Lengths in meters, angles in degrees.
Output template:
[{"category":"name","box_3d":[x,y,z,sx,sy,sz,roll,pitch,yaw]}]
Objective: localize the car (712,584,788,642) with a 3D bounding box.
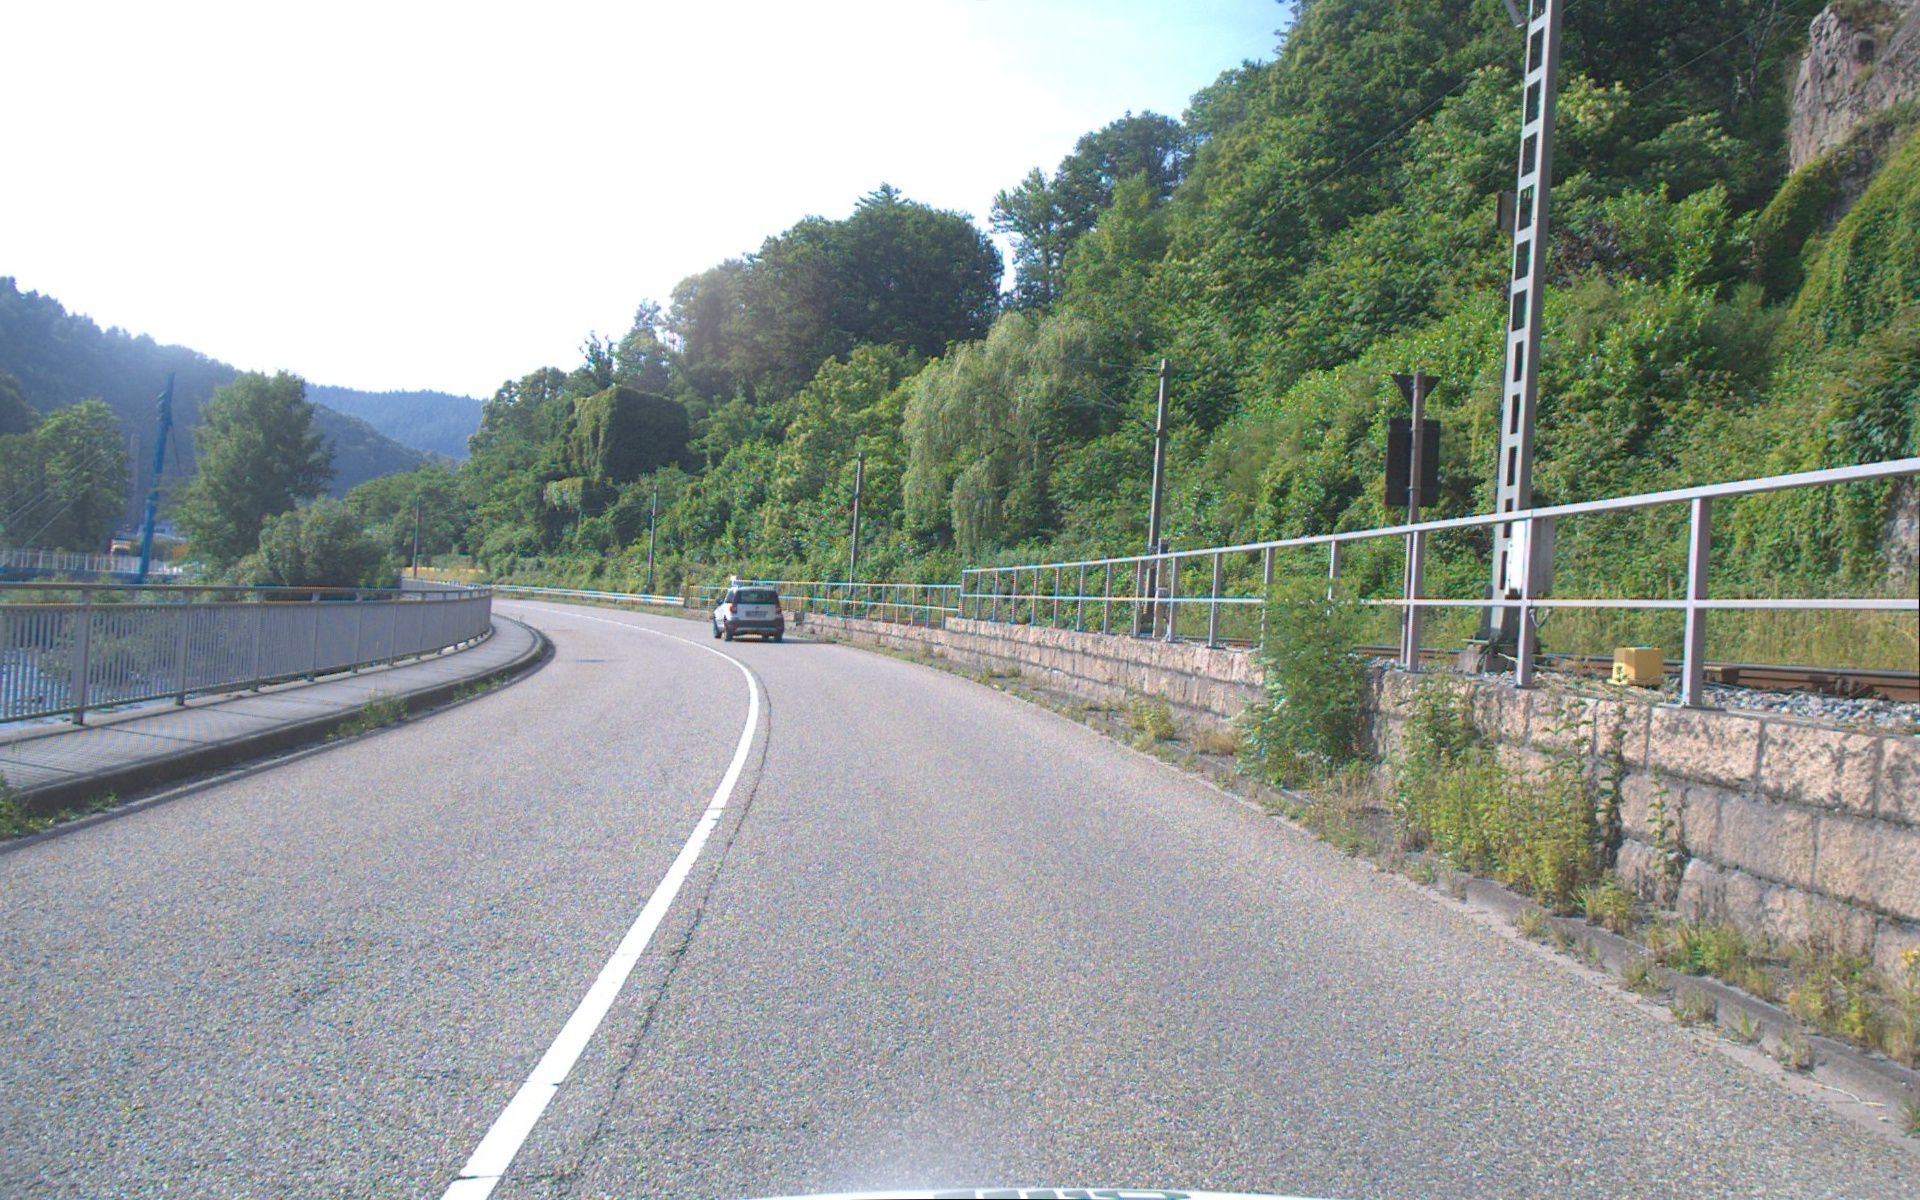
[{"category":"car","box_3d":[-6.479,0.367,50.756,1.841,1.685,3.985,1,0,-14]}]
